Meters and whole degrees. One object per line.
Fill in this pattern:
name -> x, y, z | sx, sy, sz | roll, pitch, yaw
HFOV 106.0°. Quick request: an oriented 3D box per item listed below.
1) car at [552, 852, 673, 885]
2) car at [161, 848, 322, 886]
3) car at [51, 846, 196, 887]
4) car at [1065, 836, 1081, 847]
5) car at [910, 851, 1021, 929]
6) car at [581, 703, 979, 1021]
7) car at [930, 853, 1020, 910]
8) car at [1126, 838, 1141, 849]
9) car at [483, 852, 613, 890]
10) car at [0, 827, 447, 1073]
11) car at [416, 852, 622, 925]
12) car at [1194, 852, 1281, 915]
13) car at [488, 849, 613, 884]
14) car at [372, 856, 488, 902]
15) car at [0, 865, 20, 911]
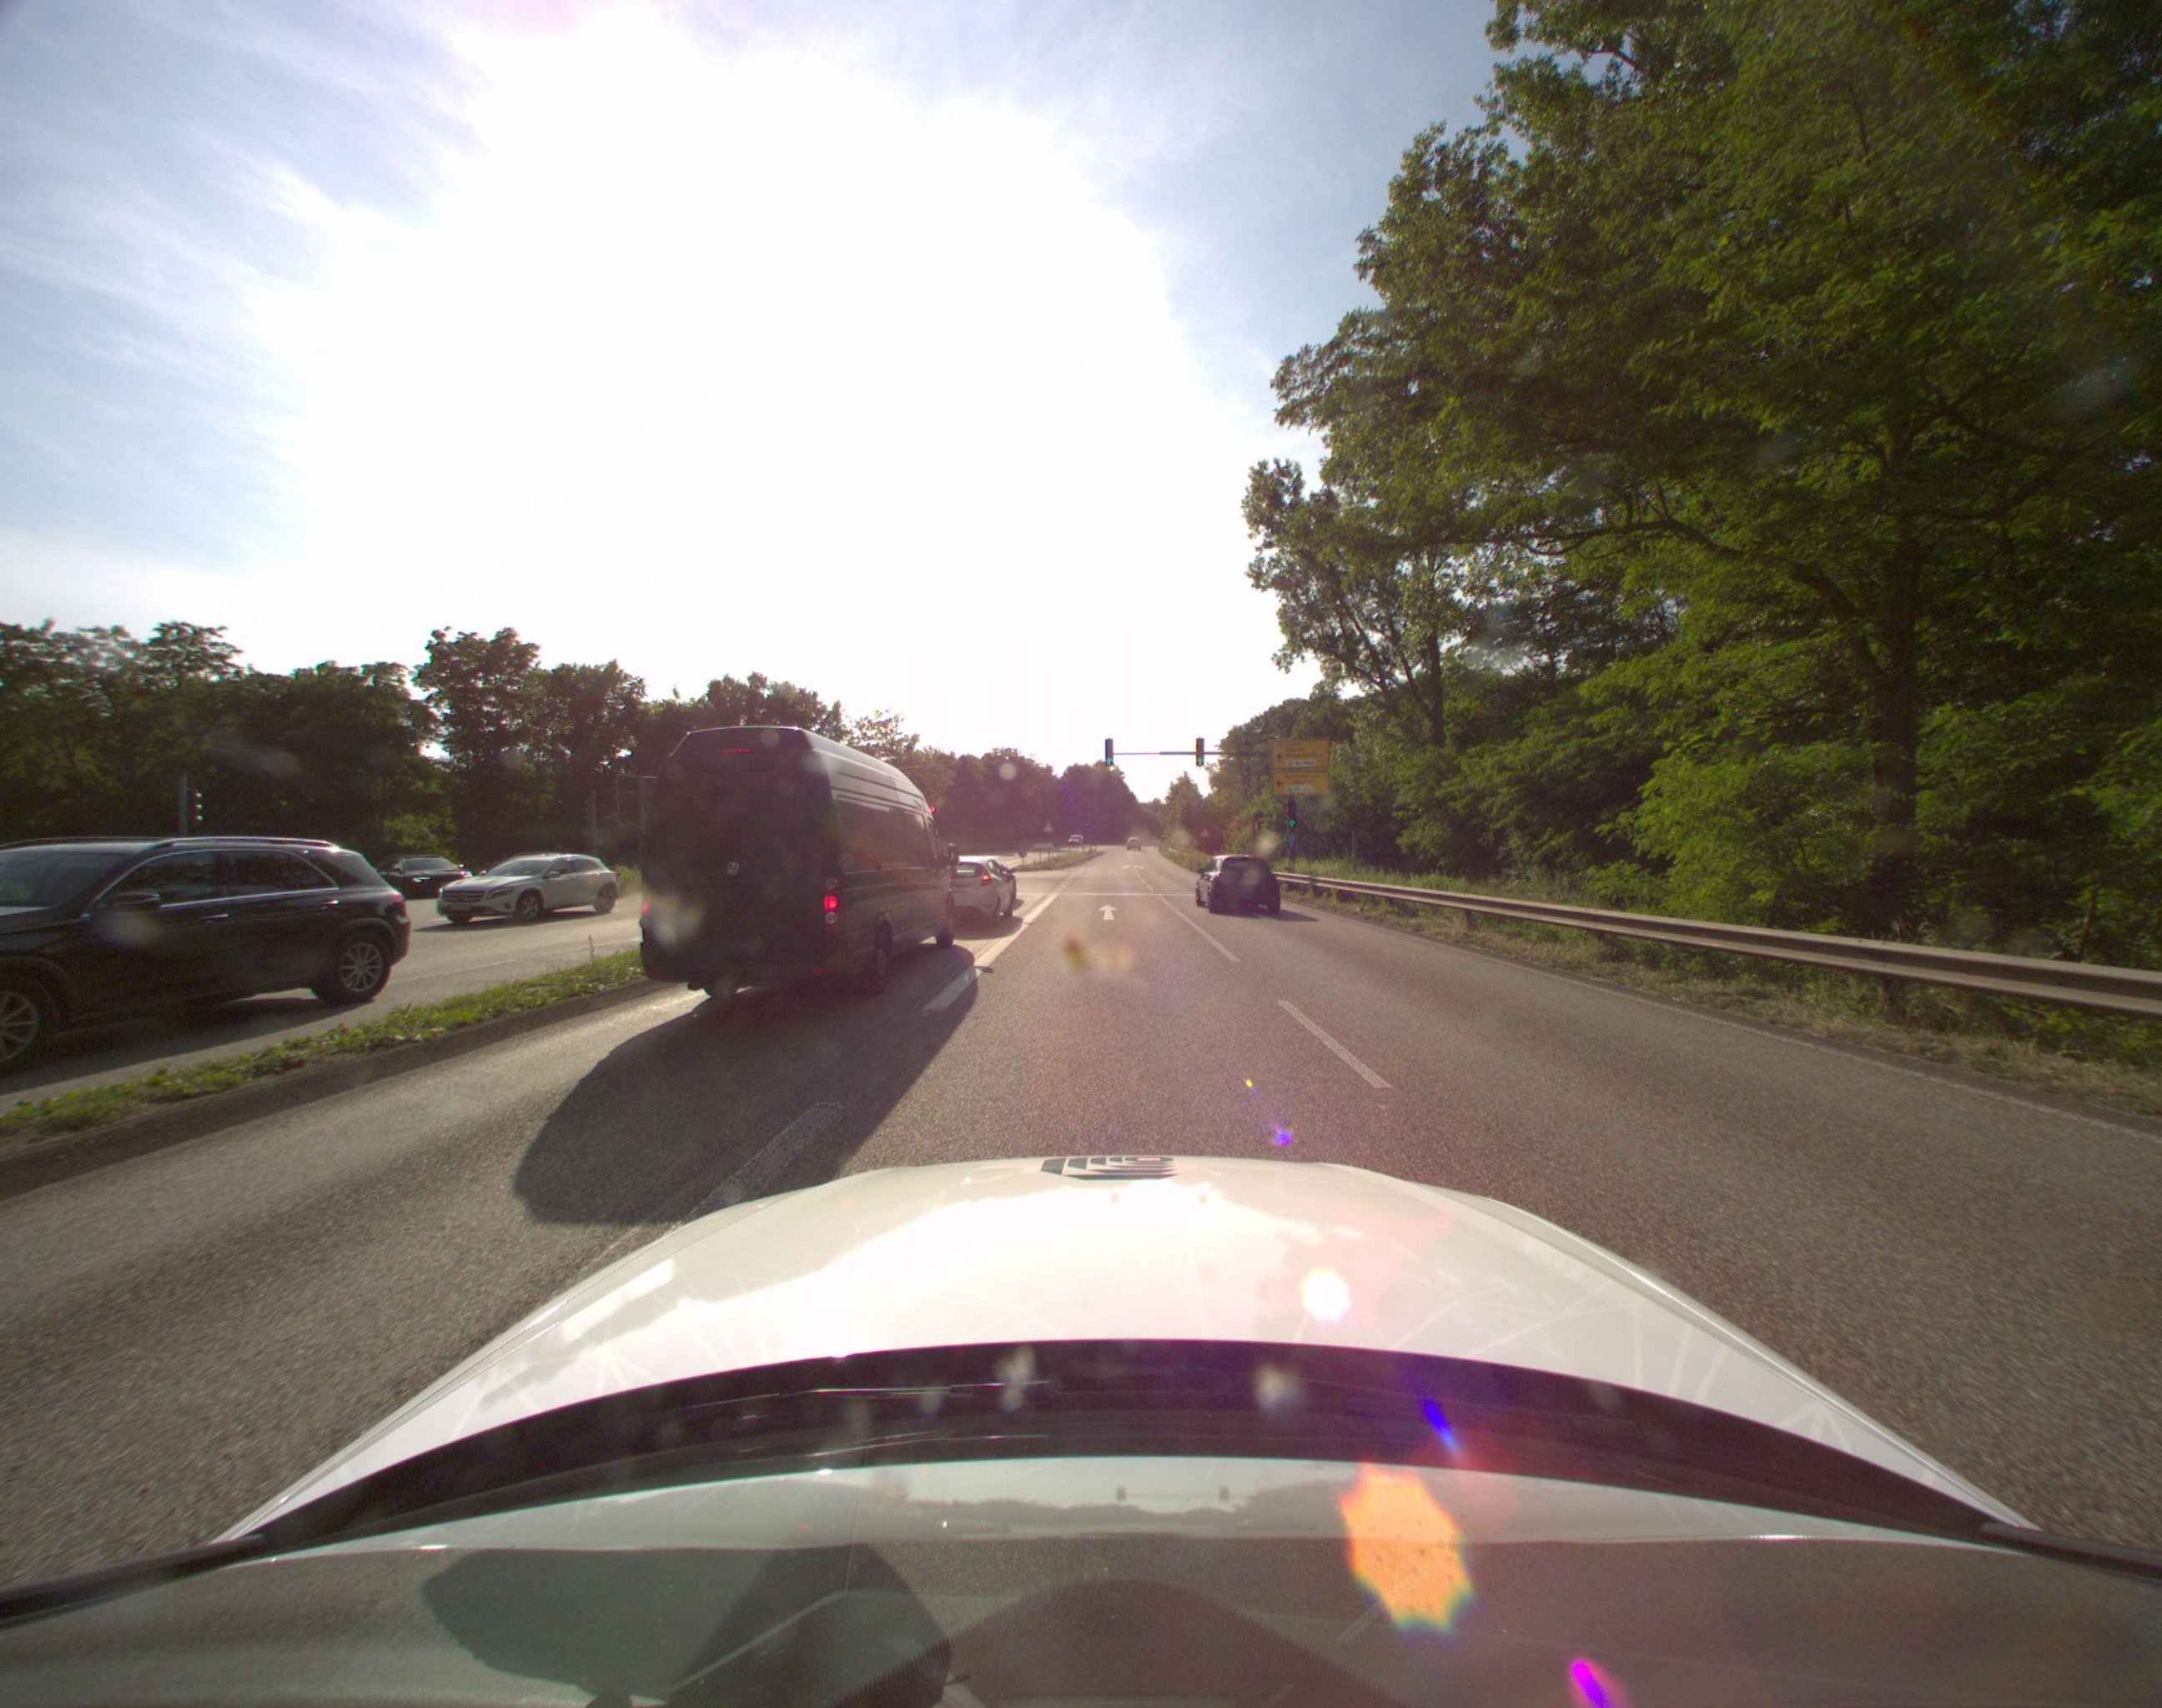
car -> -23.218, 0.711, 40.479 | 4.693, 1.490, 2.168 | 1, 0, 0
car -> -36.479, 0.515, 35.475 | 5.022, 1.490, 2.454 | 1, 0, 10
car -> -43.261, 0.534, 36.861 | 4.608, 1.727, 2.198 | 1, 0, 10
car -> -1.356, -2.163, 137.908 | 1.838, 1.786, 4.684 | 1, 0, 11
car -> -2.407, 0.700, 18.003 | 1.639, 1.489, 4.107 | -2, 0, 3
car -> -3.242, 0.063, 11.032 | 2.199, 2.888, 7.021 | -2, 0, 5
car -> -2.971, 0.721, 23.750 | 1.728, 1.421, 4.806 | -2, 0, 3
car -> 7.115, -1.409, 110.276 | 1.752, 1.380, 3.978 | 1, 0, 6
car -> -22.507, 0.681, 34.448 | 4.379, 1.490, 2.006 | 1, 0, 11
car -> -8.746, 0.712, 7.391 | 2.068, 1.763, 4.759 | -2, 0, 2
car -> -13.242, 0.733, 19.581 | 1.877, 1.503, 4.266 | -2, 0, 1
car -> 3.998, 0.704, 21.380 | 1.811, 1.467, 3.878 | -1, 0, 5
car -> -24.440, 0.575, 37.616 | 4.392, 1.490, 2.000 | 1, 0, 0
car -> -24.046, 0.864, 30.042 | 4.503, 1.490, 2.013 | 1, 0, 33
car -> -52.882, 1.576, 38.014 | 4.608, 2.096, 2.198 | 1, 0, 10
